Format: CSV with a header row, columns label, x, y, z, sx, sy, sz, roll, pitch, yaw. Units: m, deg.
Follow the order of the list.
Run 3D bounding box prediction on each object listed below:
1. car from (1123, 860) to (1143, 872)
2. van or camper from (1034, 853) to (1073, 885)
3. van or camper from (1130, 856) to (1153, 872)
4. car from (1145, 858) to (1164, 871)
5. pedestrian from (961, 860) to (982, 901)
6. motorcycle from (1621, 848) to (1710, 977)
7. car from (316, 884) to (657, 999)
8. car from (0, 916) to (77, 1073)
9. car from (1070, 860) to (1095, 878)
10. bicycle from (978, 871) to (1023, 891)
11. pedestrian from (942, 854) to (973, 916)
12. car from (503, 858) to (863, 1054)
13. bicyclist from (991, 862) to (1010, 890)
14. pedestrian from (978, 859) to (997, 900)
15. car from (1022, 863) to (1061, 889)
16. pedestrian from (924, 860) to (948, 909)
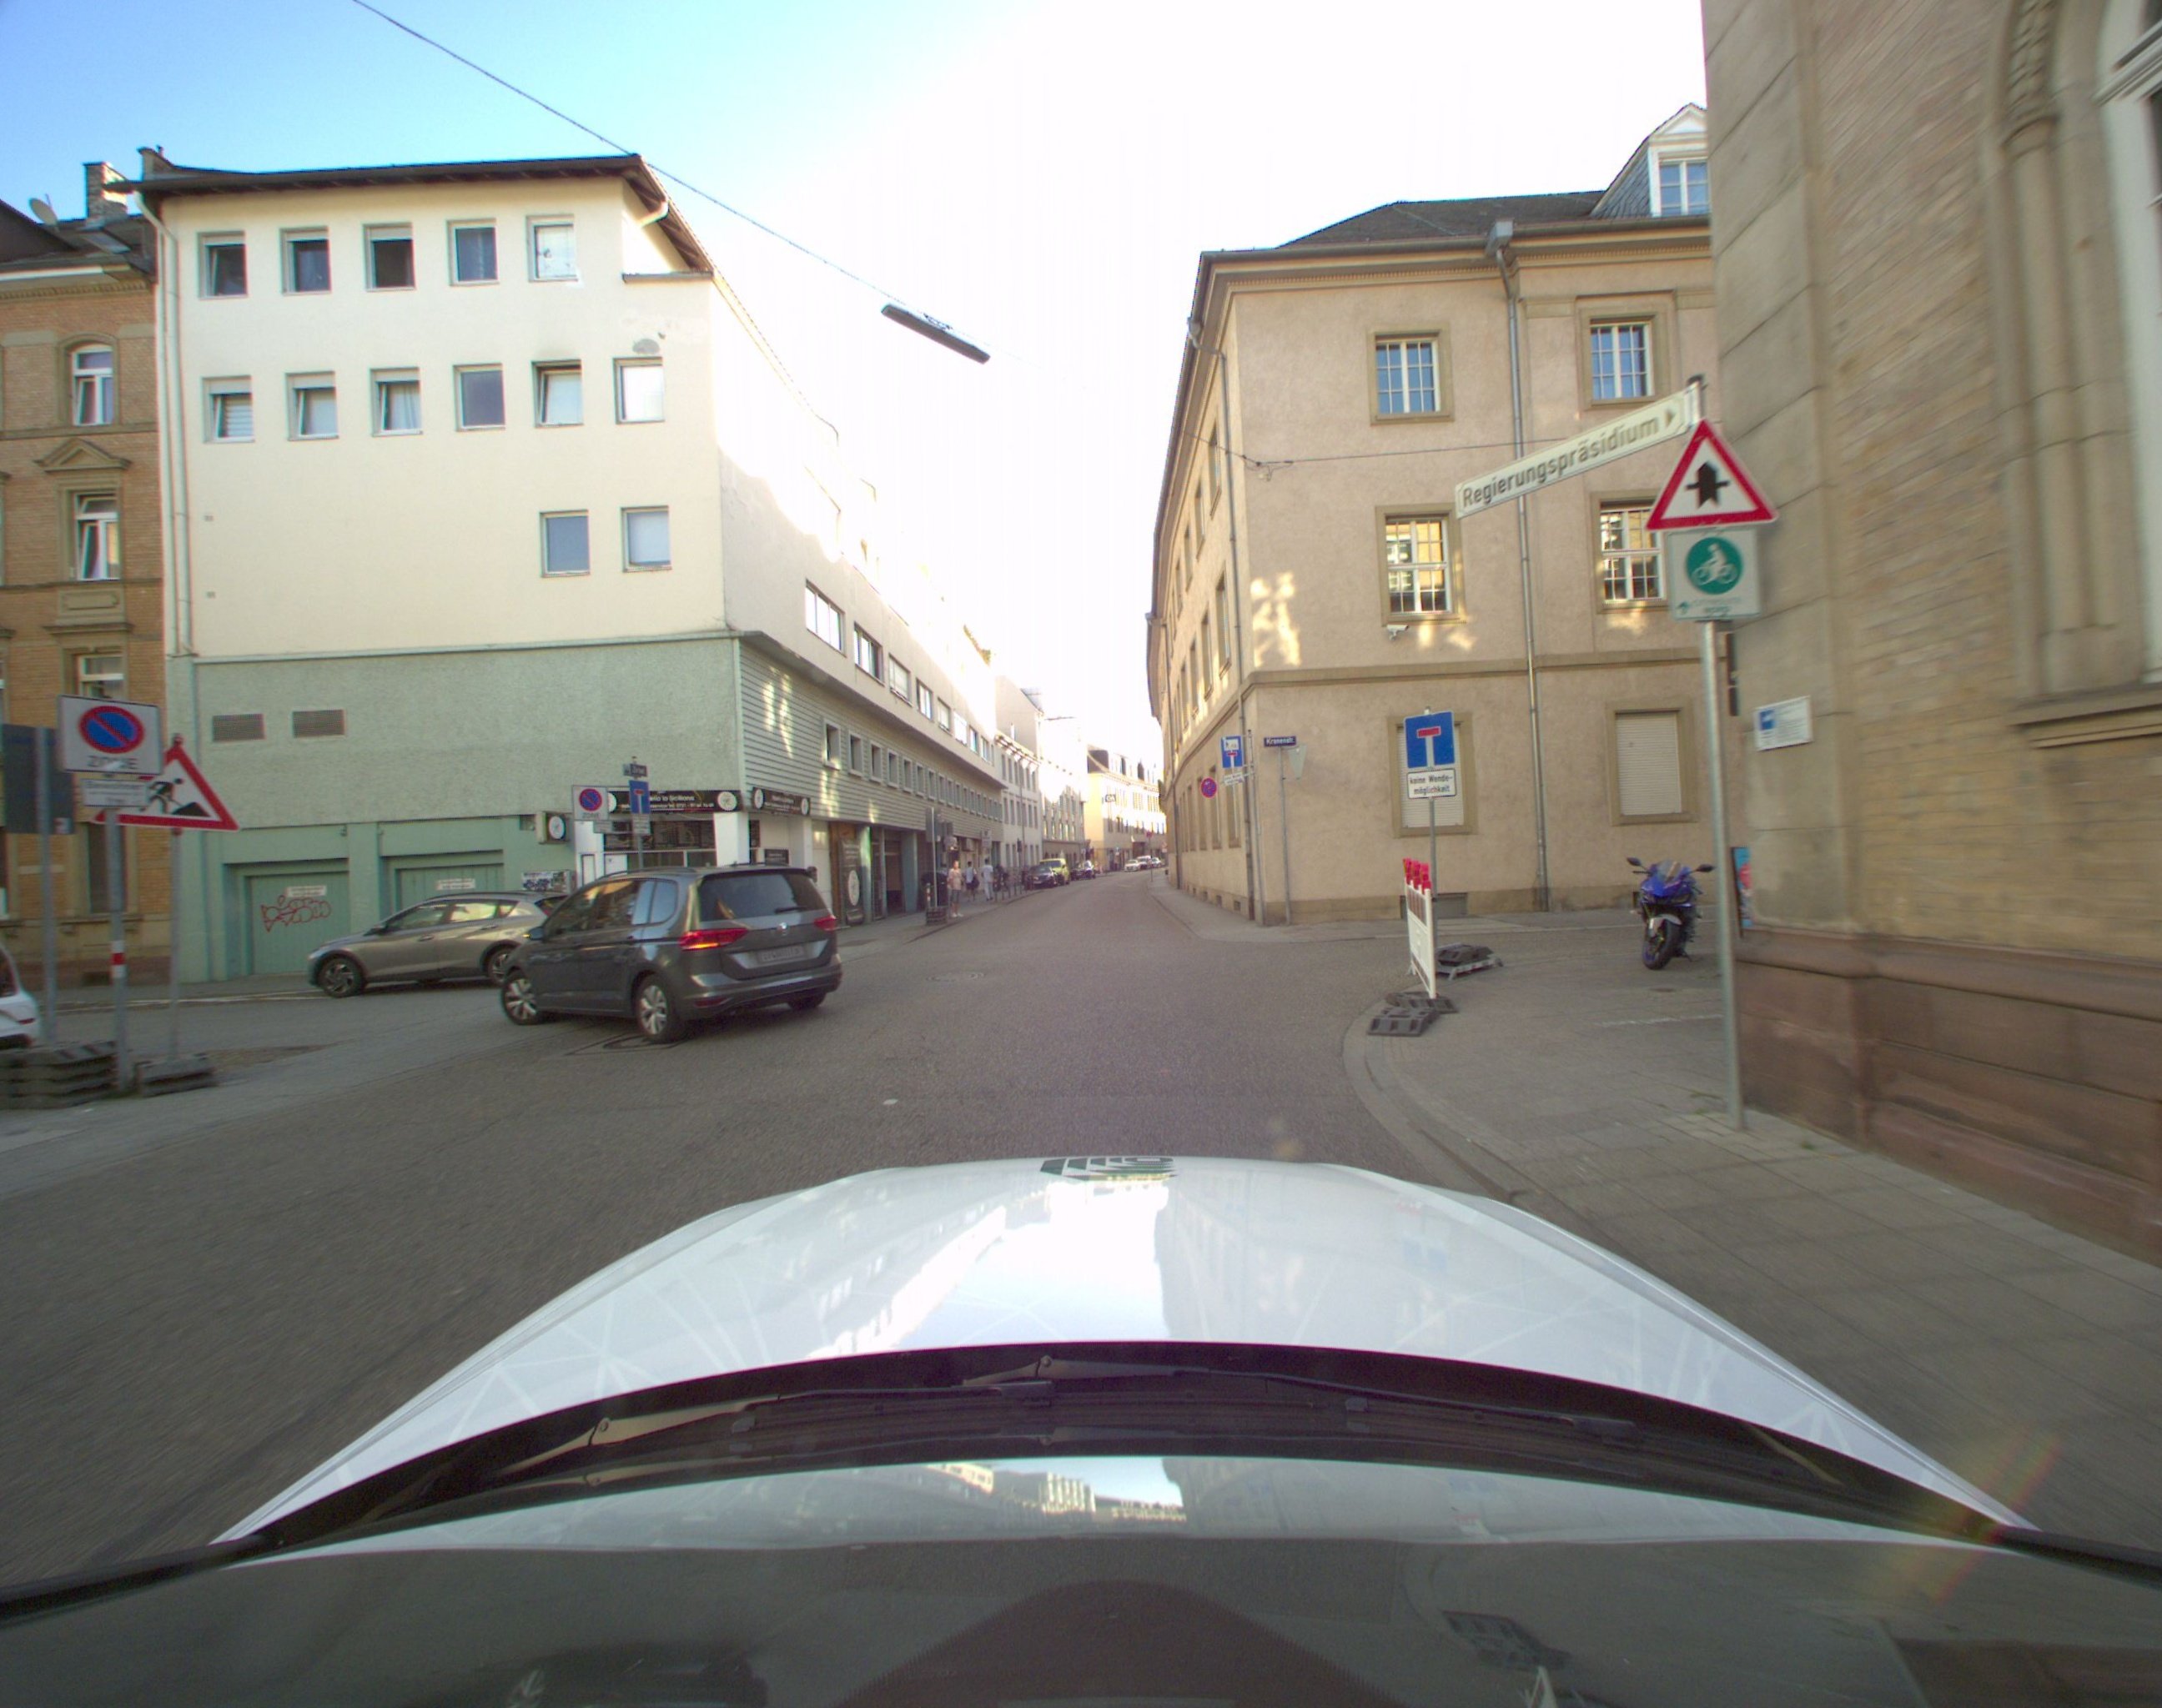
label,x,y,z,sx,sy,sz,roll,pitch,yaw
car,6.680,1.508,103.443,1.721,1.468,4.016,-3,-1,15
van or camper,-1.902,1.012,57.074,1.983,2.013,4.491,-3,-1,7
van or camper,8.196,1.336,109.197,1.978,2.013,5.020,-3,0,17
car,10.440,1.477,115.474,1.811,1.726,4.018,-3,-1,18
pedestrian,-4.678,1.124,34.818,0.709,1.684,0.480,-3,-1,1
motorcycle,6.473,0.577,9.038,0.662,1.244,2.205,-3,-1,35
car,-9.533,1.366,13.310,4.082,1.443,1.949,-3,0,2
car,-12.051,1.456,7.447,3.487,1.443,1.814,-3,0,2
car,0.173,1.327,73.245,1.856,1.468,3.840,-3,0,6
bicycle,-4.708,1.591,47.837,2.517,1.054,0.838,-3,0,26
pedestrian,-3.764,0.939,24.826,0.550,1.829,0.735,-3,-1,24
car,-4.349,0.921,8.699,3.948,1.607,1.779,-3,-1,36
bicyclist,-4.730,1.285,47.838,0.750,1.561,0.838,-3,-1,26
pedestrian,-3.984,1.087,34.812,0.660,1.684,0.480,-3,-1,1
car,-2.438,1.340,51.337,1.856,1.468,3.840,-3,0,6
pedestrian,-5.532,1.162,30.986,0.726,1.829,0.557,-3,-1,0
